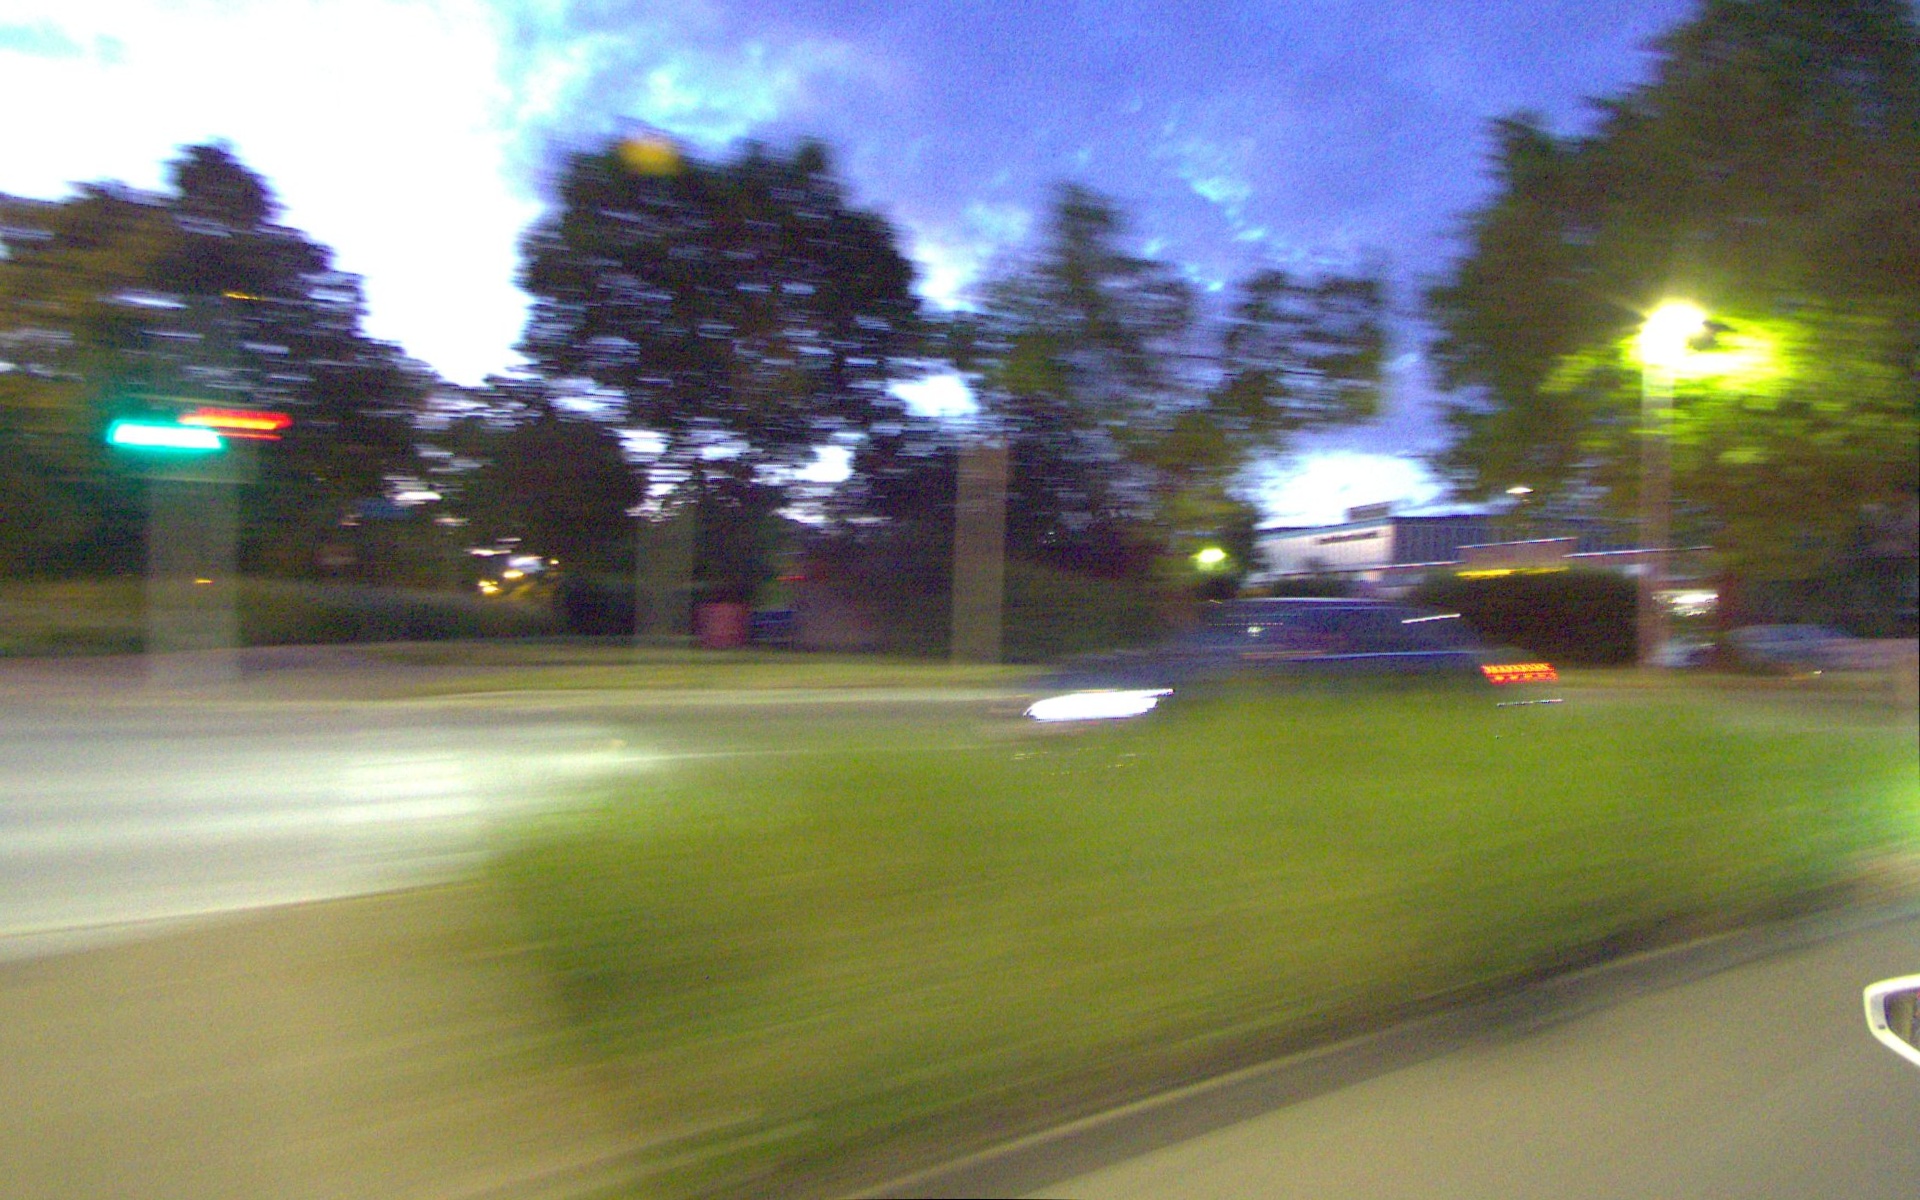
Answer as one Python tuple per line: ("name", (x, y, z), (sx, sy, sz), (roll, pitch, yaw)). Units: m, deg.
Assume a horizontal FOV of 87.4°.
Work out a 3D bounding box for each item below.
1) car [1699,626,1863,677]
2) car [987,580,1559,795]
("car", (23.820, 1.494, 29.292), (1.472, 1.377, 3.502), (2, -3, -17))
("car", (2.627, 0.652, 8.461), (4.459, 1.465, 1.757), (2, 0, -21))
